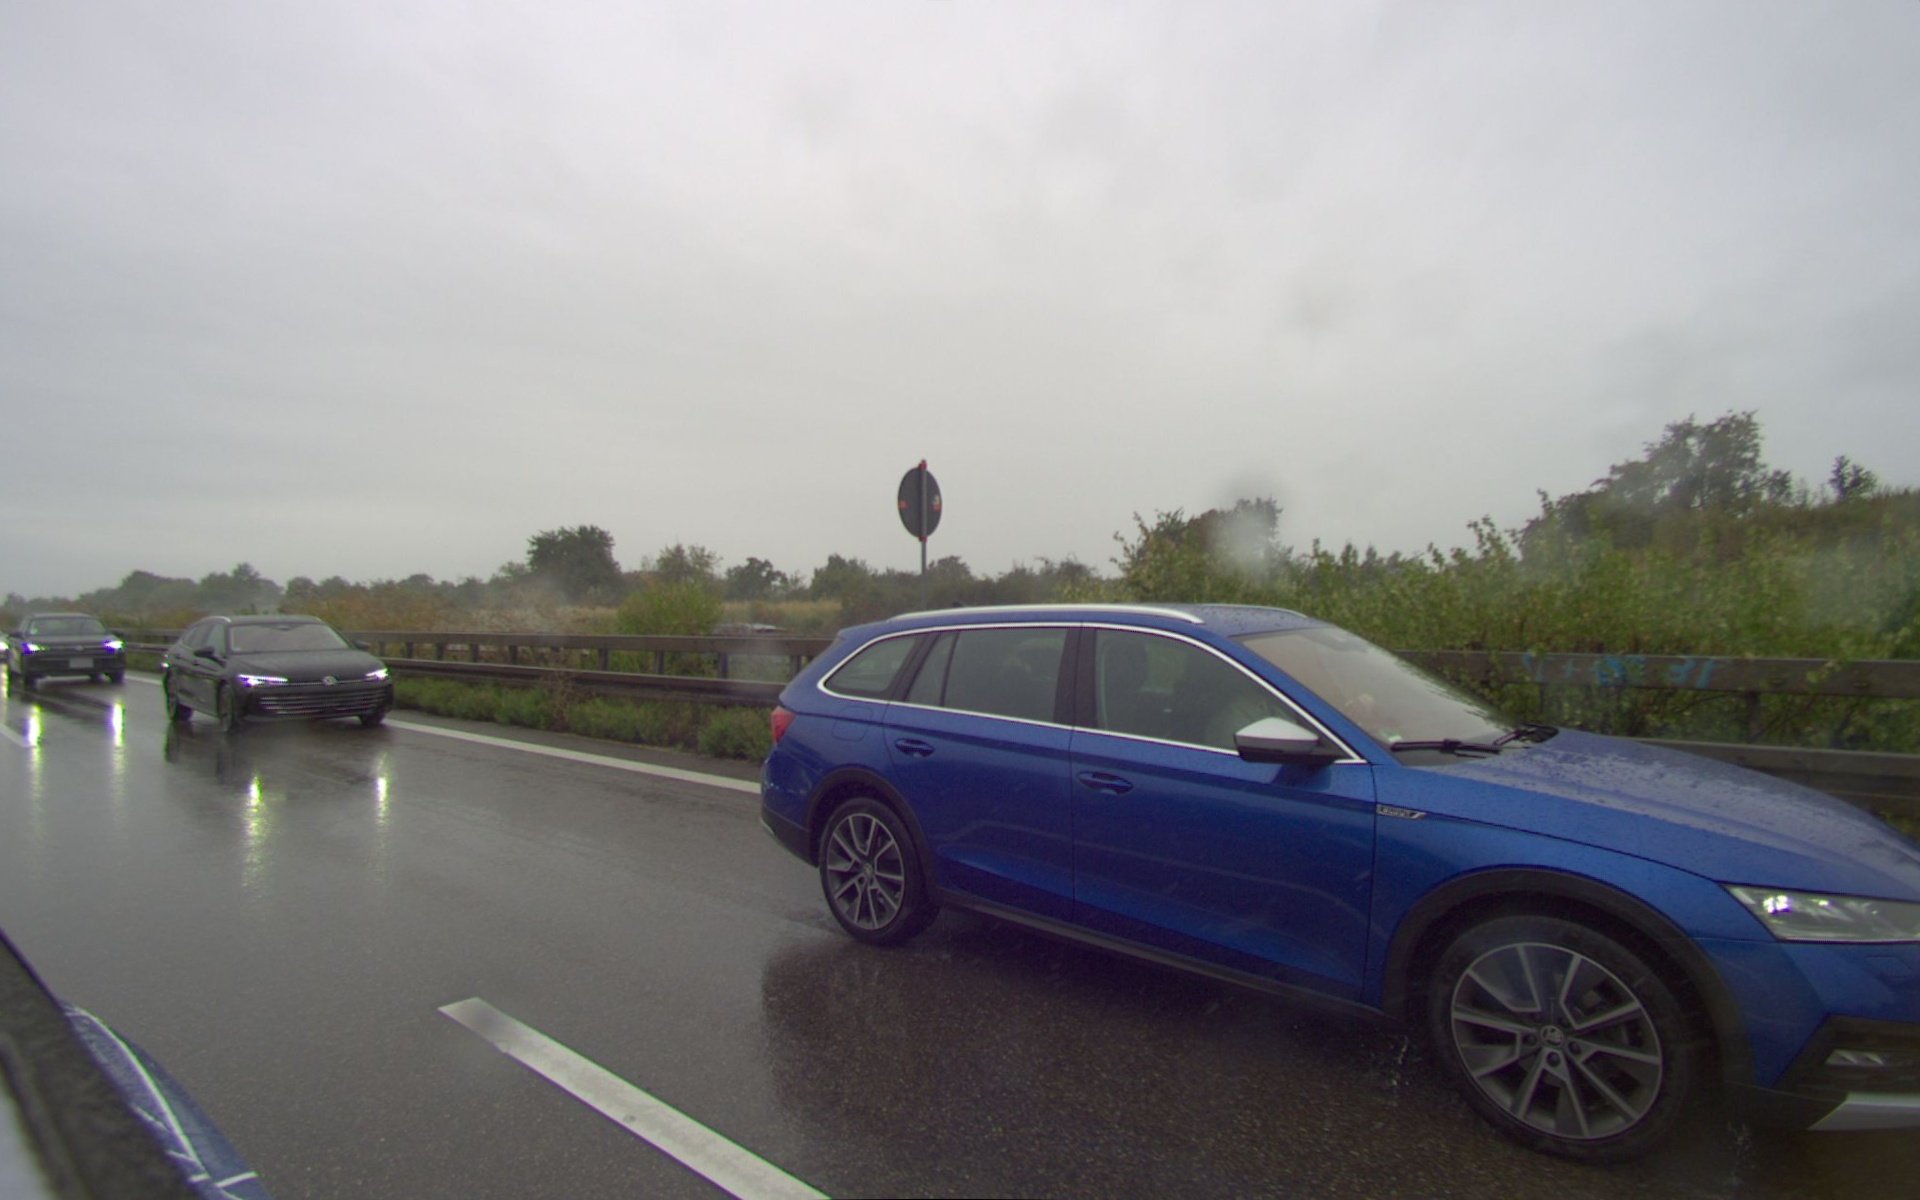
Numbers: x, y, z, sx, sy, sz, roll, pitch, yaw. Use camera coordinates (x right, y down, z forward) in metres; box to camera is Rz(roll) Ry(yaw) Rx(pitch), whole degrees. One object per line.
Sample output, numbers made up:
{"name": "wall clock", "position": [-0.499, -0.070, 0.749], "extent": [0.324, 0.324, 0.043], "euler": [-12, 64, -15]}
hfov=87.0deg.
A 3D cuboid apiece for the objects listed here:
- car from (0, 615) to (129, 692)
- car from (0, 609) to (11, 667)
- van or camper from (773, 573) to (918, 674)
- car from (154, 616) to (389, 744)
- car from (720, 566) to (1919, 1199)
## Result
{"name": "car", "position": [-21.464, 1.213, 24.129], "extent": [4.266, 1.644, 1.864], "euler": [-1, -1, 41]}
{"name": "car", "position": [-36.071, 1.387, 36.970], "extent": [4.270, 2.029, 1.863], "euler": [-1, -1, 44]}
{"name": "van or camper", "position": [-2.727, 0.539, 23.682], "extent": [3.523, 2.197, 1.347], "euler": [-1, -1, 41]}
{"name": "car", "position": [-9.403, 0.964, 13.680], "extent": [4.368, 1.447, 1.592], "euler": [-1, -1, 41]}
{"name": "car", "position": [1.112, 0.708, 4.075], "extent": [4.510, 1.487, 1.767], "euler": [-1, -1, 41]}
